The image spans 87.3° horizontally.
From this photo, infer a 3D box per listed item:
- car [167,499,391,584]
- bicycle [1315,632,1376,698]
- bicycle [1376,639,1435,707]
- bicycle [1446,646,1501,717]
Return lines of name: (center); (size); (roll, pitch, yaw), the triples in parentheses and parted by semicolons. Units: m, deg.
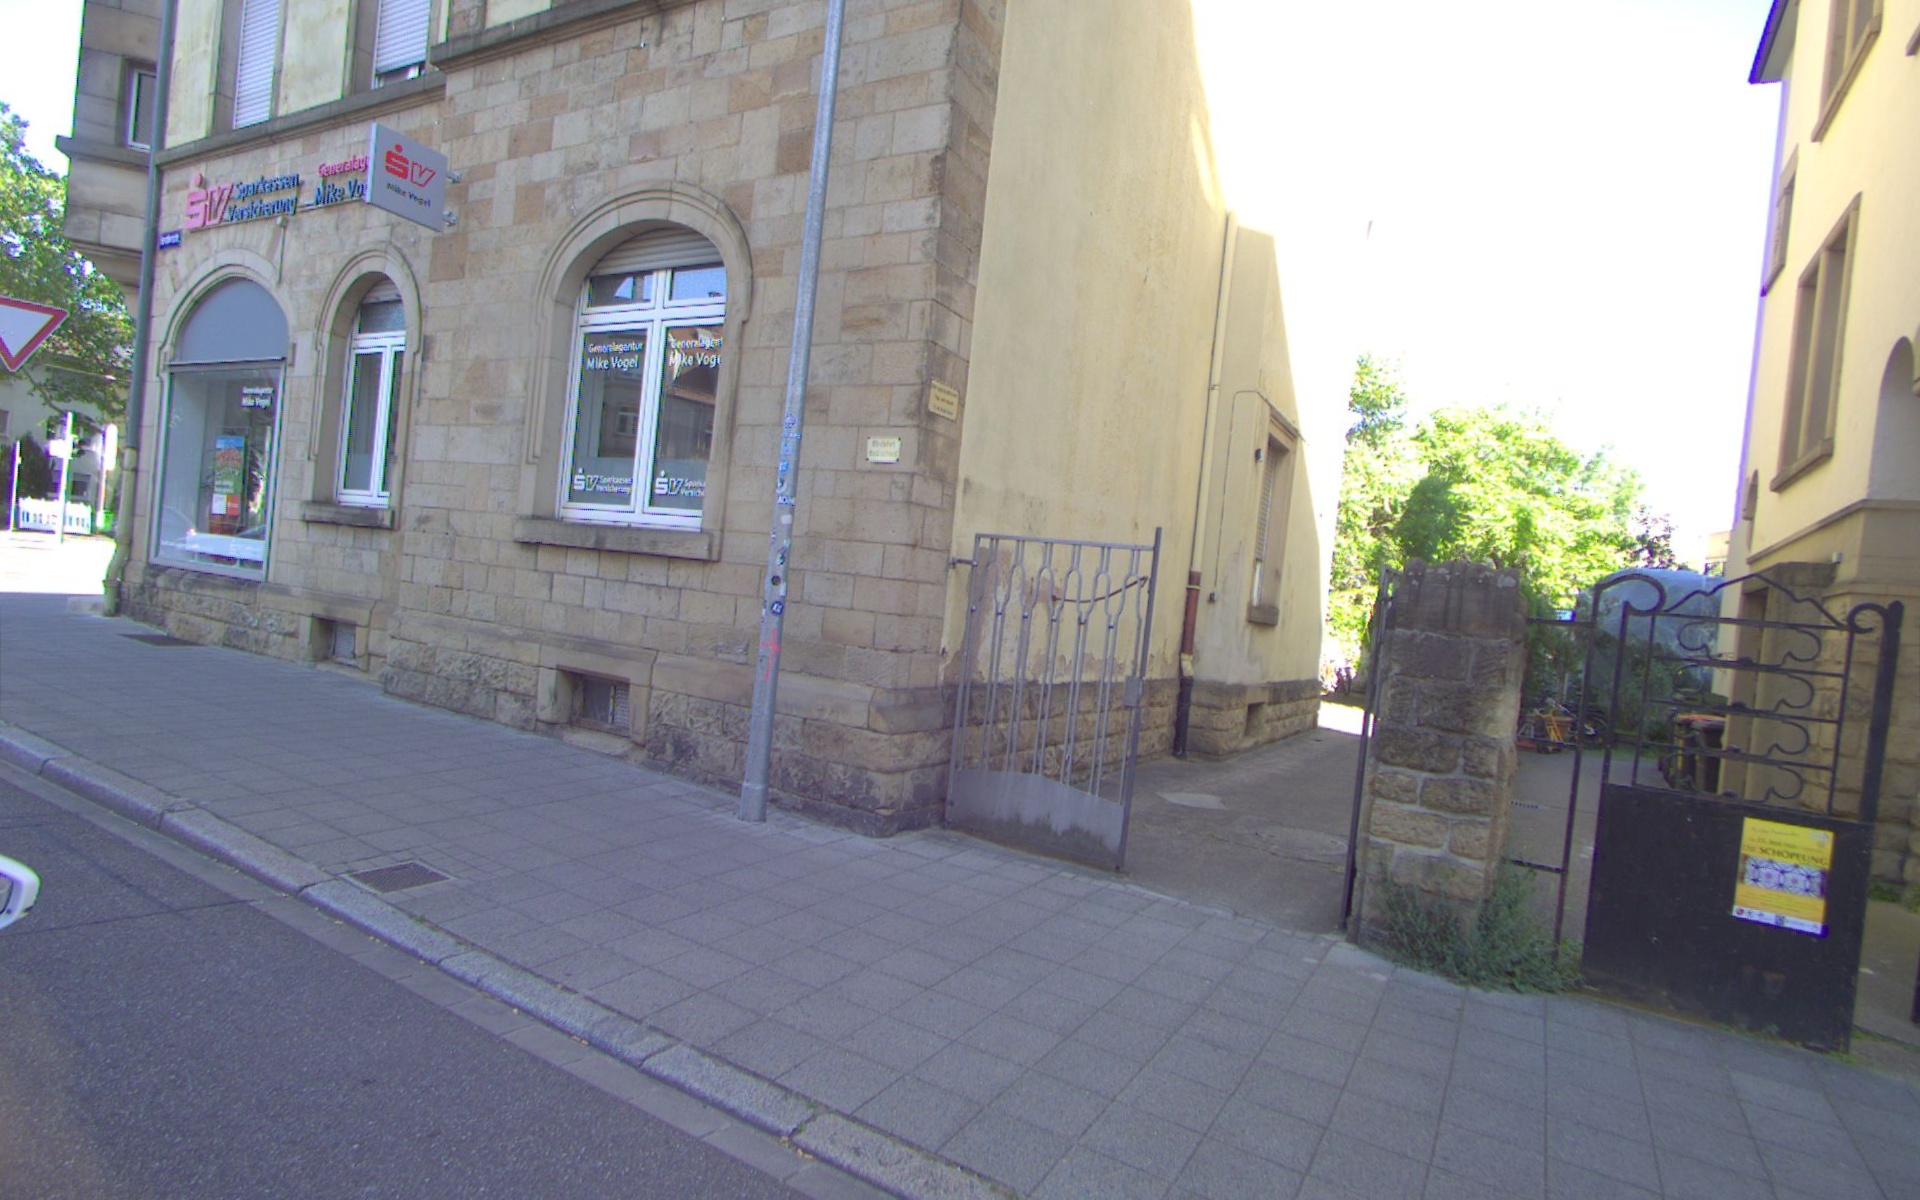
car: (-17.261, -1.411, 25.815); (1.697, 1.686, 4.675); (7, 1, 16)
bicycle: (9.980, 1.646, 25.965); (0.904, 1.532, 2.667); (6, 2, 31)
bicycle: (11.214, 1.781, 25.248); (0.904, 1.532, 2.667); (6, 2, 31)
bicycle: (12.599, 1.940, 24.635); (0.904, 1.532, 2.667); (6, 2, 31)
